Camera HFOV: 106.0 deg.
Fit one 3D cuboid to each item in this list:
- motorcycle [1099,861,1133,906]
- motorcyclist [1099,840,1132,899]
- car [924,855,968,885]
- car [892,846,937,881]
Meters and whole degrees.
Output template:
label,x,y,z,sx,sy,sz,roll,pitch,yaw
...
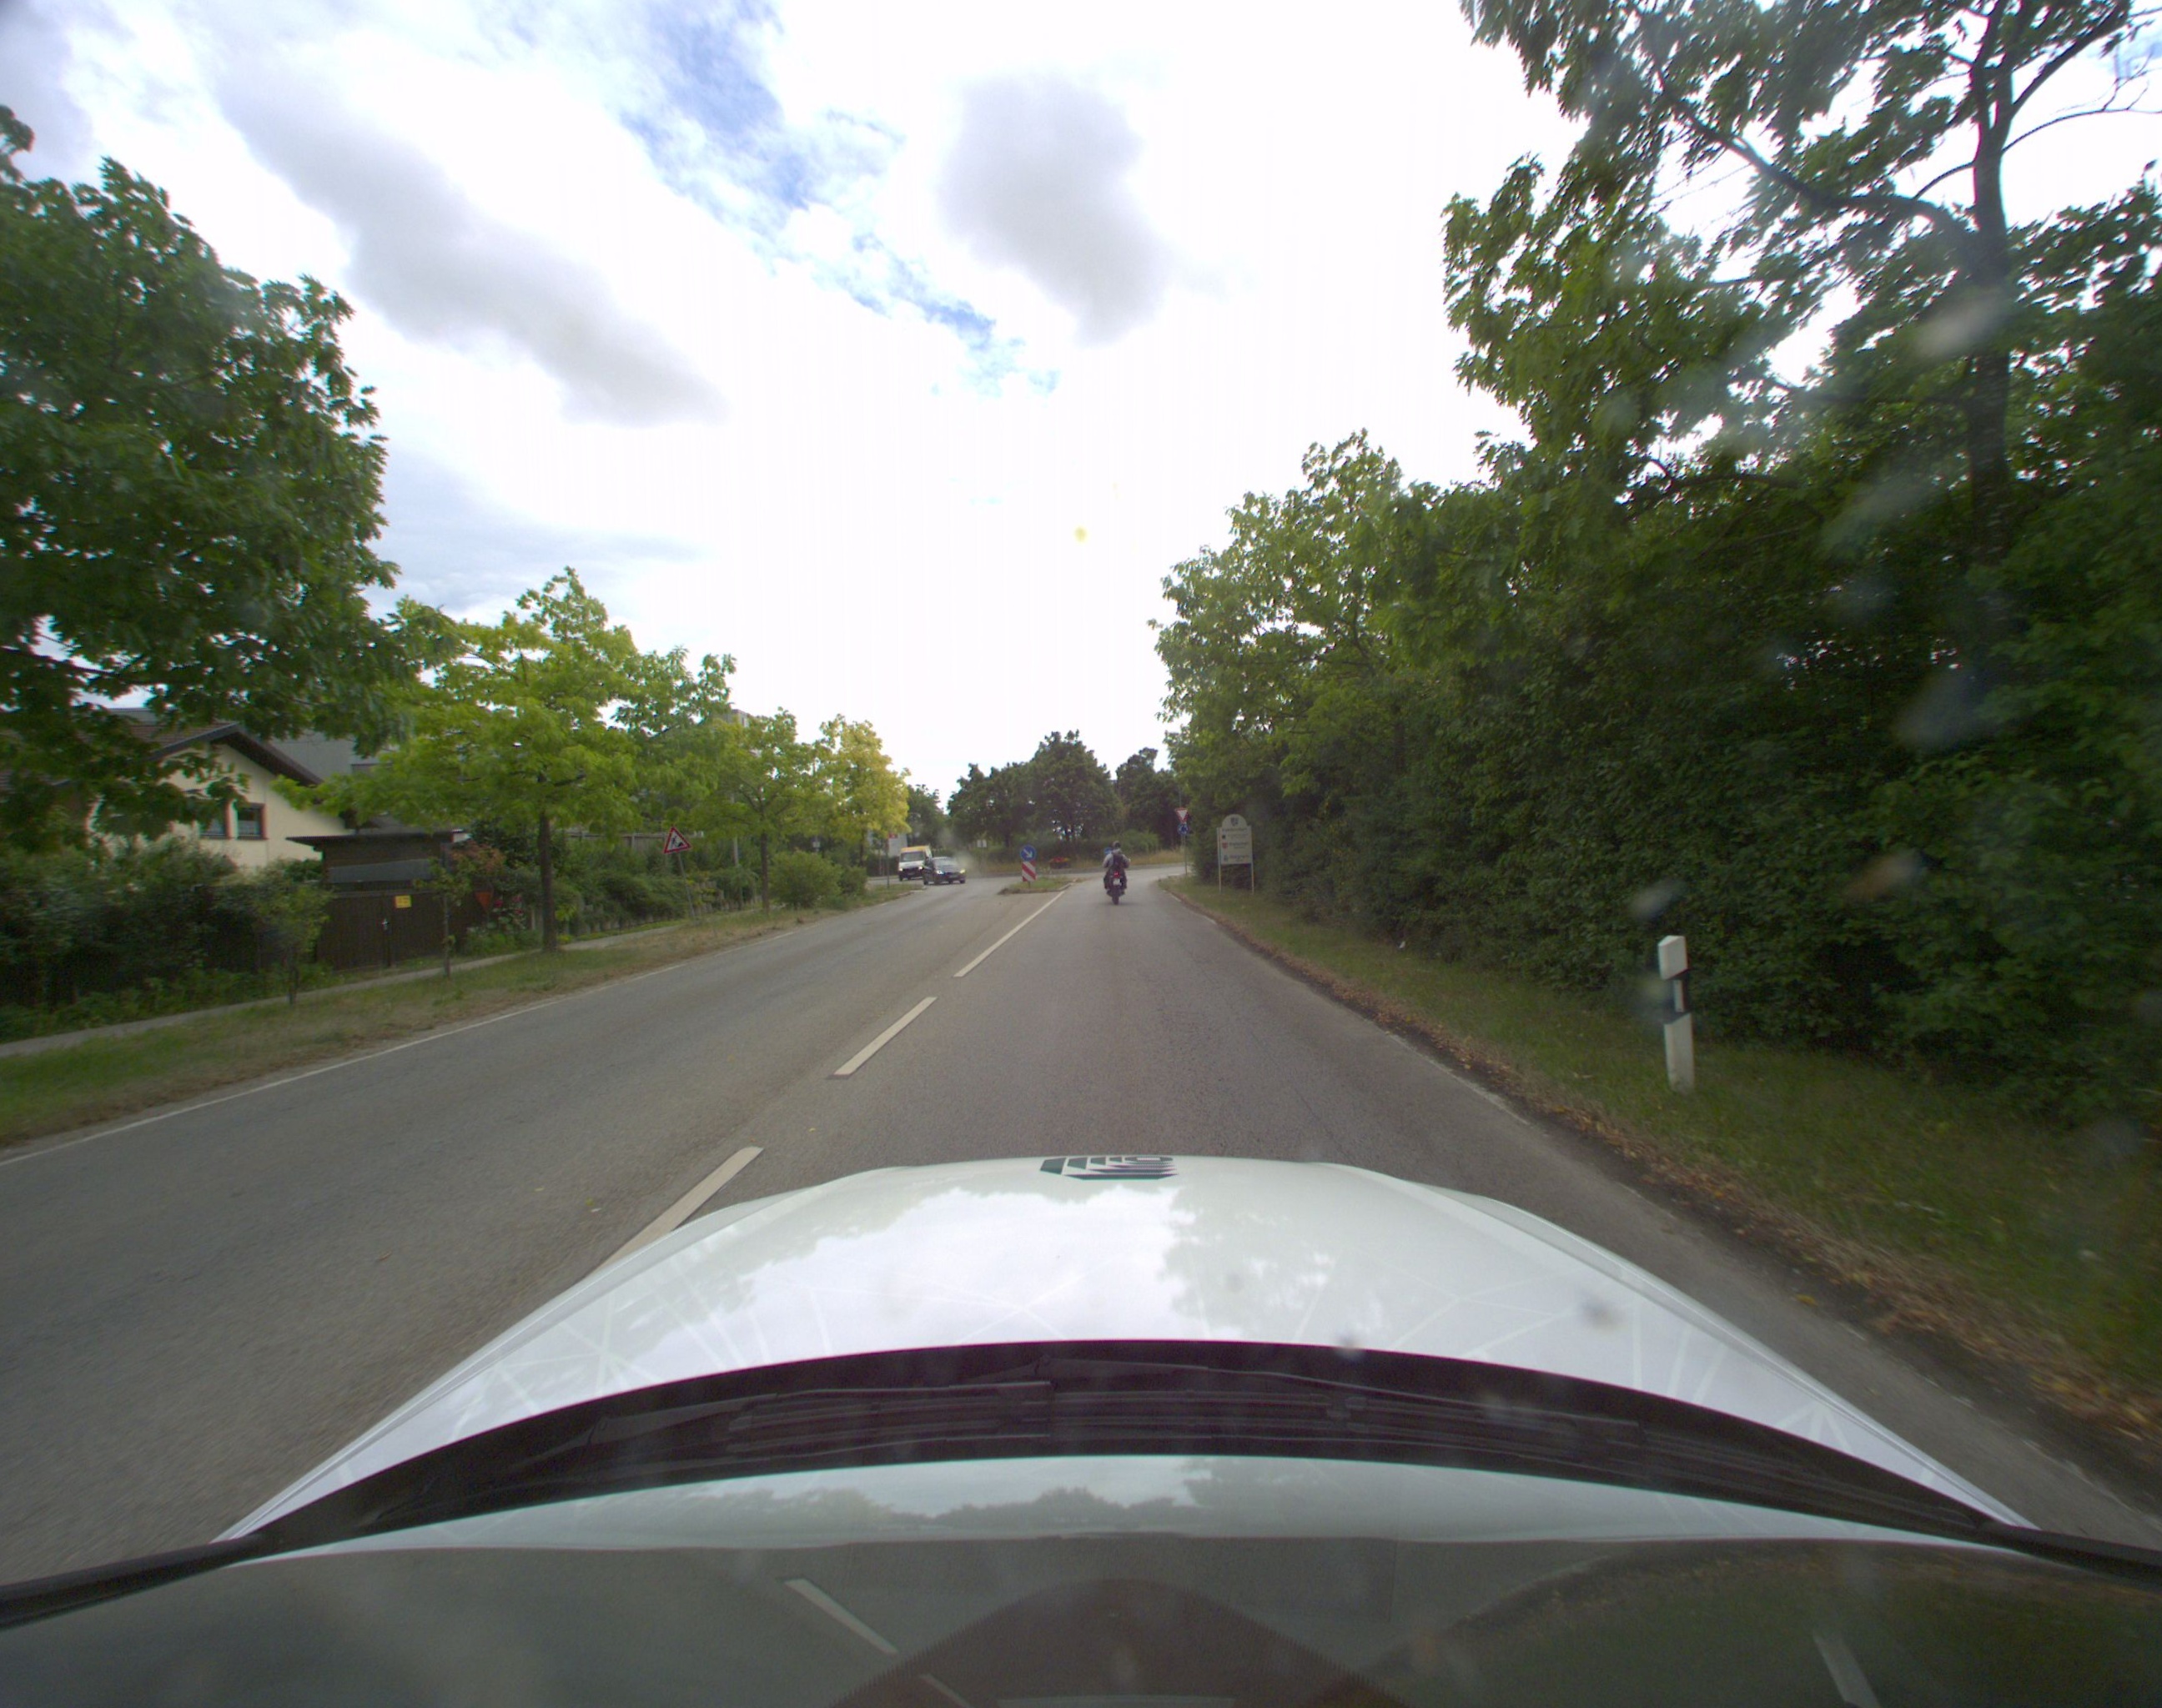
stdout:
label,x,y,z,sx,sy,sz,roll,pitch,yaw
motorcycle,1.012,0.802,23.455,0.893,1.158,2.622,-2,0,2
motorcyclist,1.001,0.441,23.588,0.858,1.623,1.191,-2,0,2
car,-8.072,0.953,48.392,1.744,1.585,4.327,-4,0,-19
car,-12.507,0.649,61.583,2.155,2.452,5.441,-3,0,0
